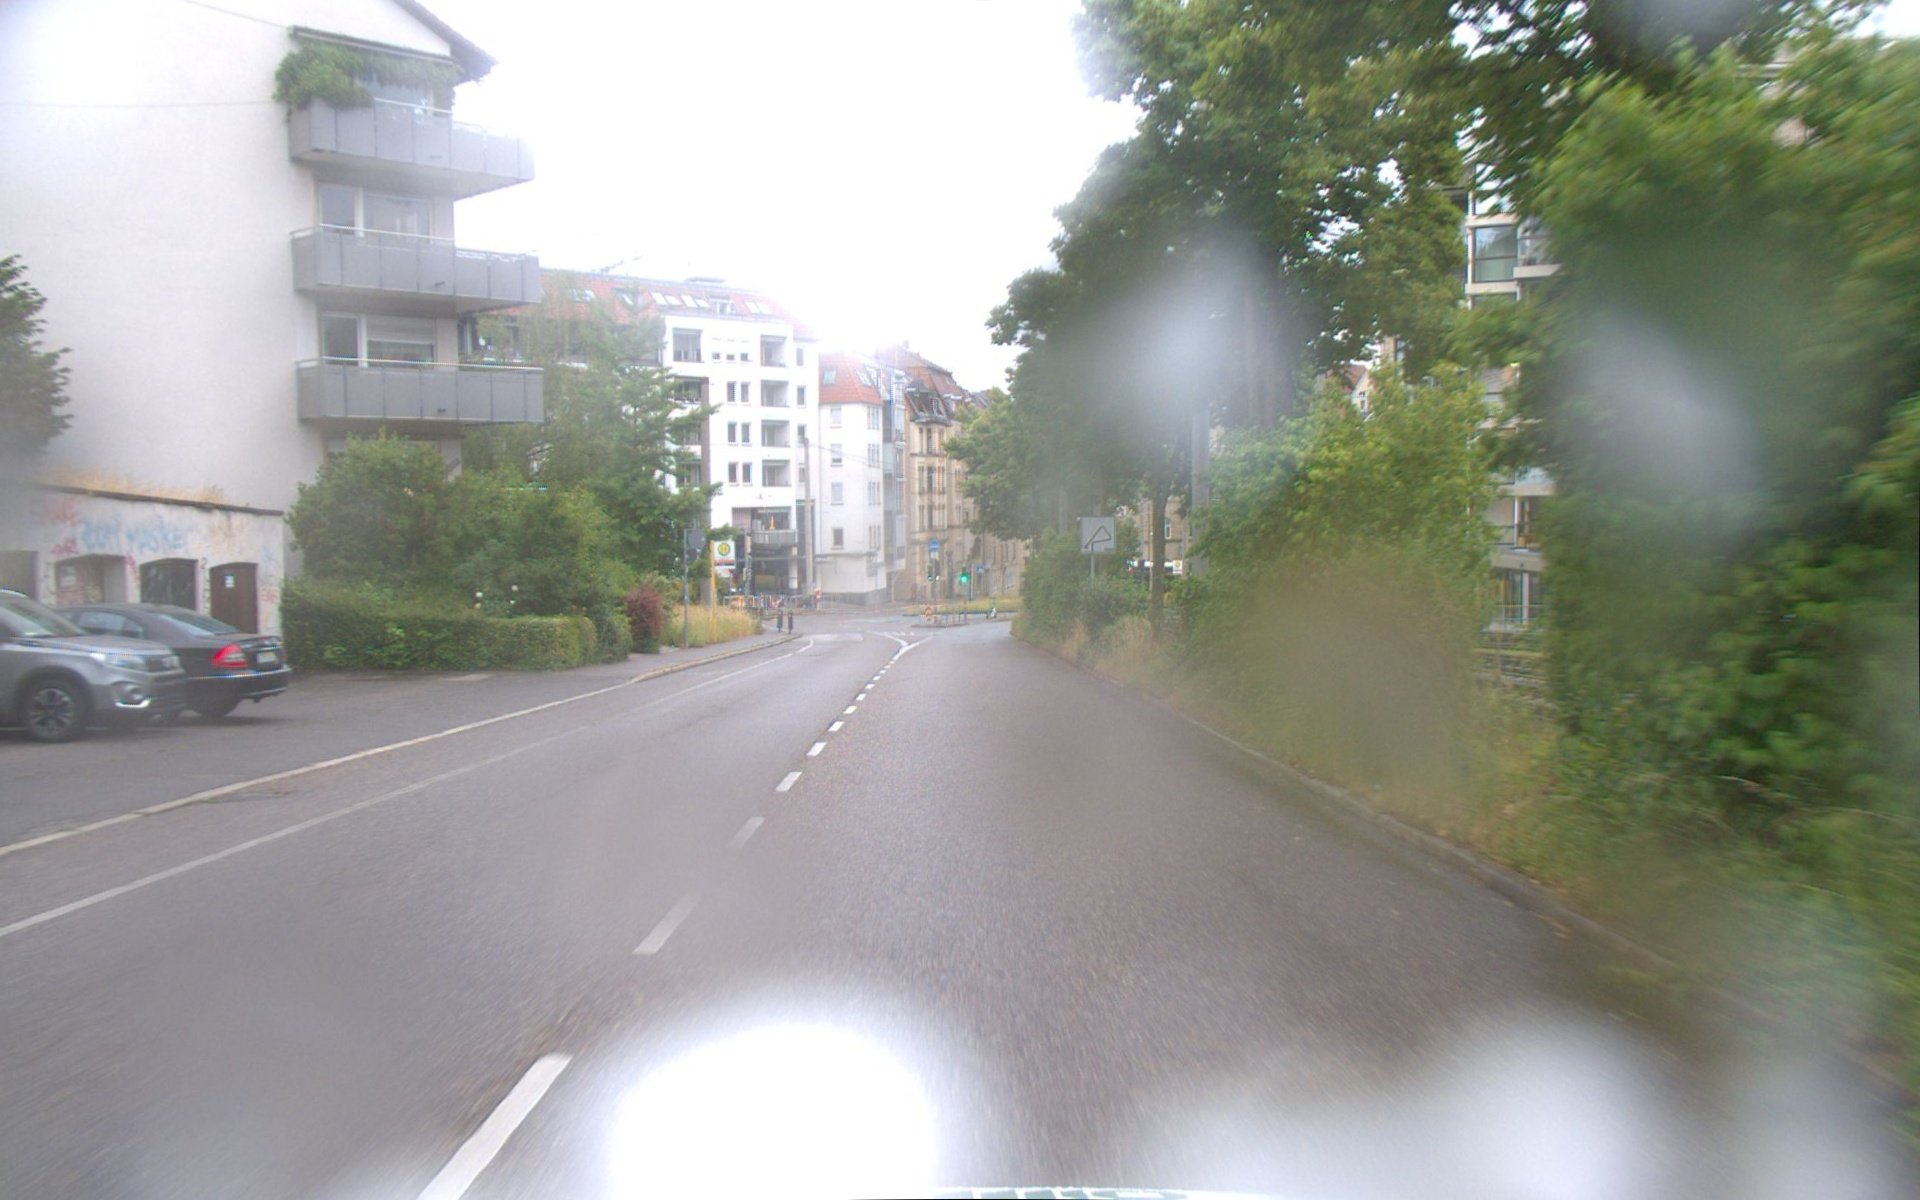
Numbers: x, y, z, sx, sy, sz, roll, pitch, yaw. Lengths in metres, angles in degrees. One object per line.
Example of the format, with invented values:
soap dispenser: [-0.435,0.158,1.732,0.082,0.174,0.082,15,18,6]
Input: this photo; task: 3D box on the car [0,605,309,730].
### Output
car: [-10.211,0.805,20.494,3.556,1.431,1.784,0,1,1]

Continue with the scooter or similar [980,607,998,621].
scooter or similar: [1.666,0.791,93.554,0.475,0.775,1.328,-1,0,27]

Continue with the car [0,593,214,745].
car: [-10.575,0.728,18.170,3.909,1.587,1.878,0,-1,-5]
